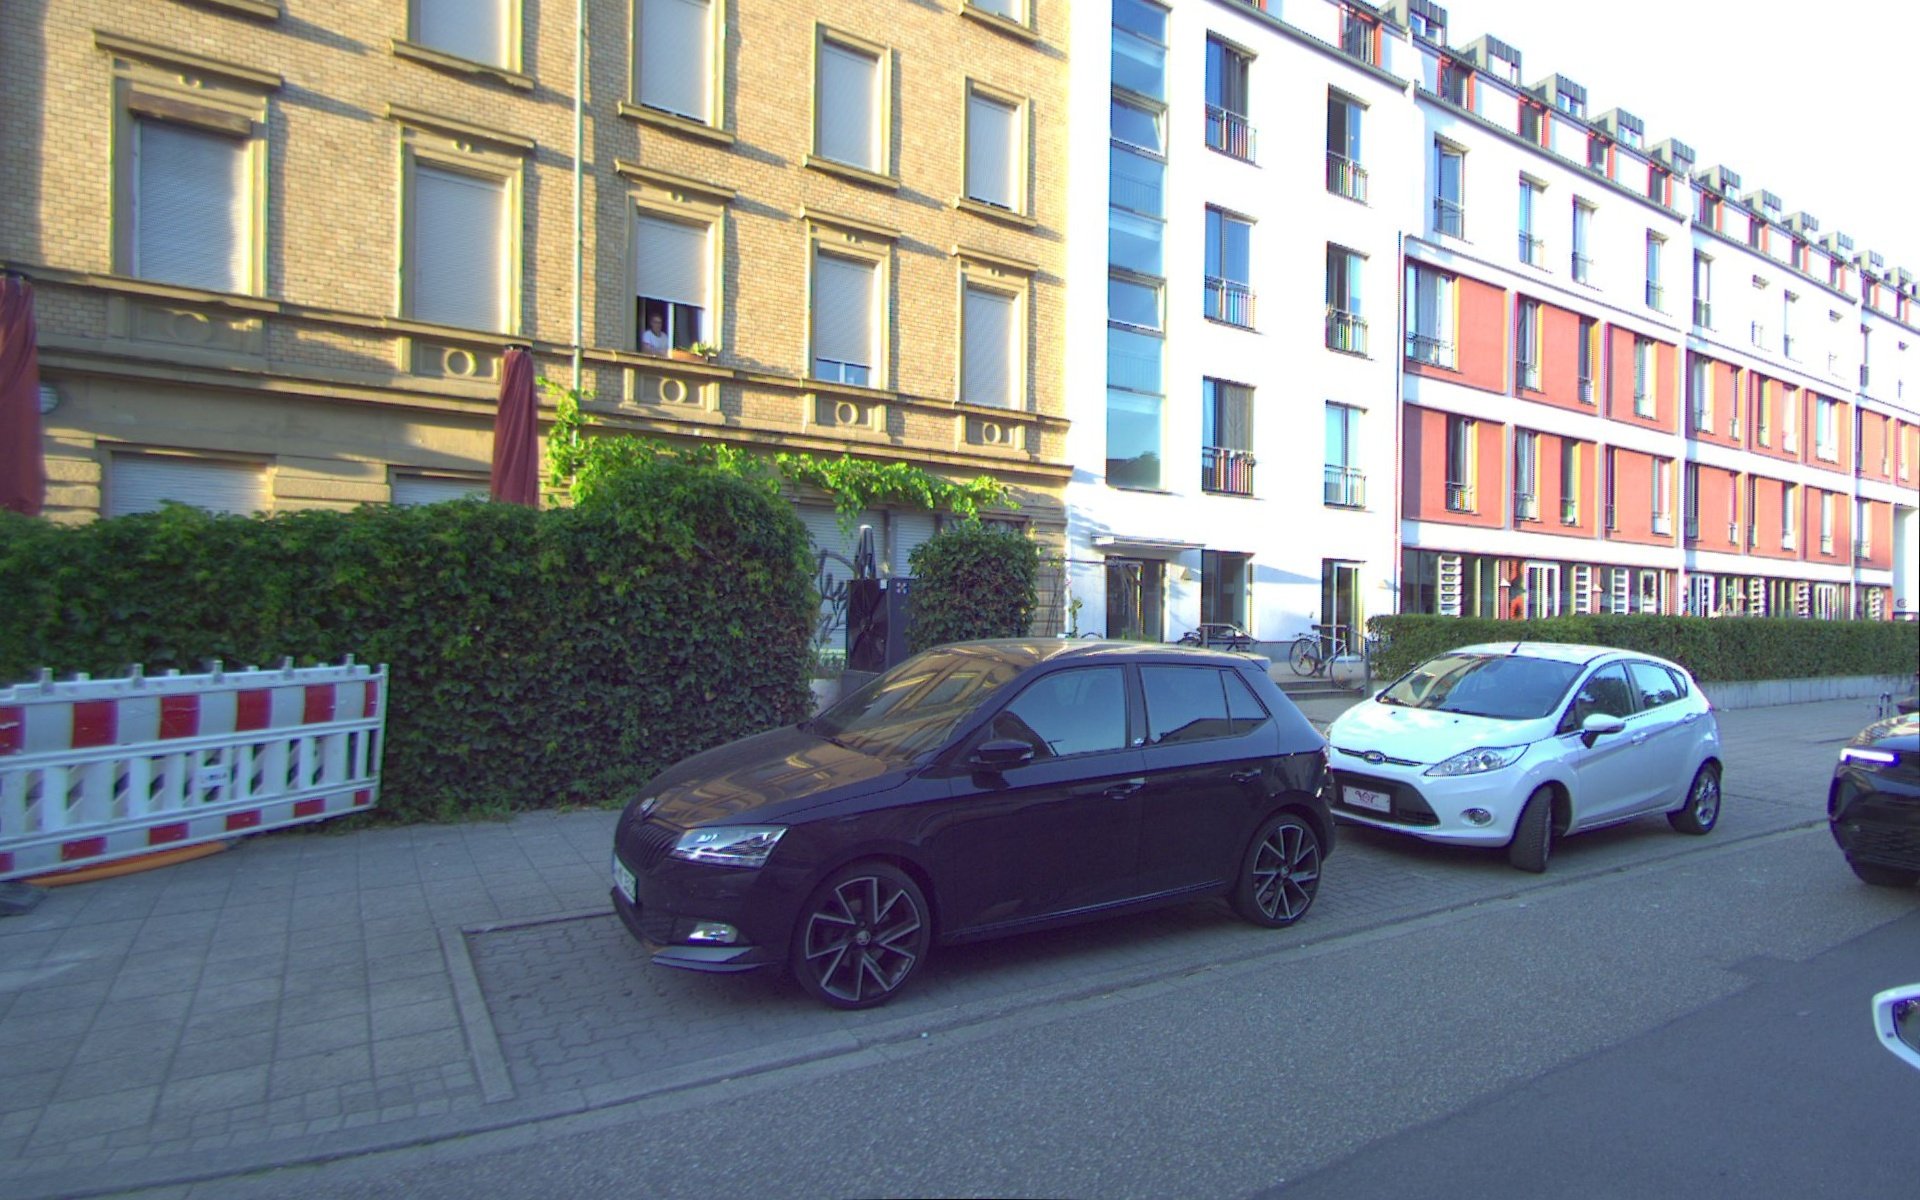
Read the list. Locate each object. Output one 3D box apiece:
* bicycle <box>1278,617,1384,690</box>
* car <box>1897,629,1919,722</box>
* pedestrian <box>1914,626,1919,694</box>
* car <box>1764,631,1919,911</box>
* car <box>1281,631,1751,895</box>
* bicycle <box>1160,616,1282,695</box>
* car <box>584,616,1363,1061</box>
[{"bbox_3d":[6.496,0.904,17.689,0.603,1.163,1.768,1,1,-28],"label":"bicycle"},{"bbox_3d":[17.369,1.280,15.038,1.861,1.480,4.586,1,0,-34],"label":"car"},{"bbox_3d":[21.807,1.348,22.194,0.789,1.521,0.828,1,1,-31],"label":"pedestrian"},{"bbox_3d":[7.138,0.972,6.167,3.943,1.537,1.776,1,-2,-23],"label":"car"},{"bbox_3d":[4.487,1.052,7.919,3.976,1.550,1.640,1,0,-35],"label":"car"},{"bbox_3d":[4.233,0.874,16.423,0.802,1.157,1.906,1,1,-30],"label":"bicycle"},{"bbox_3d":[0.179,0.899,5.304,3.801,1.554,1.694,1,0,-32],"label":"car"}]
